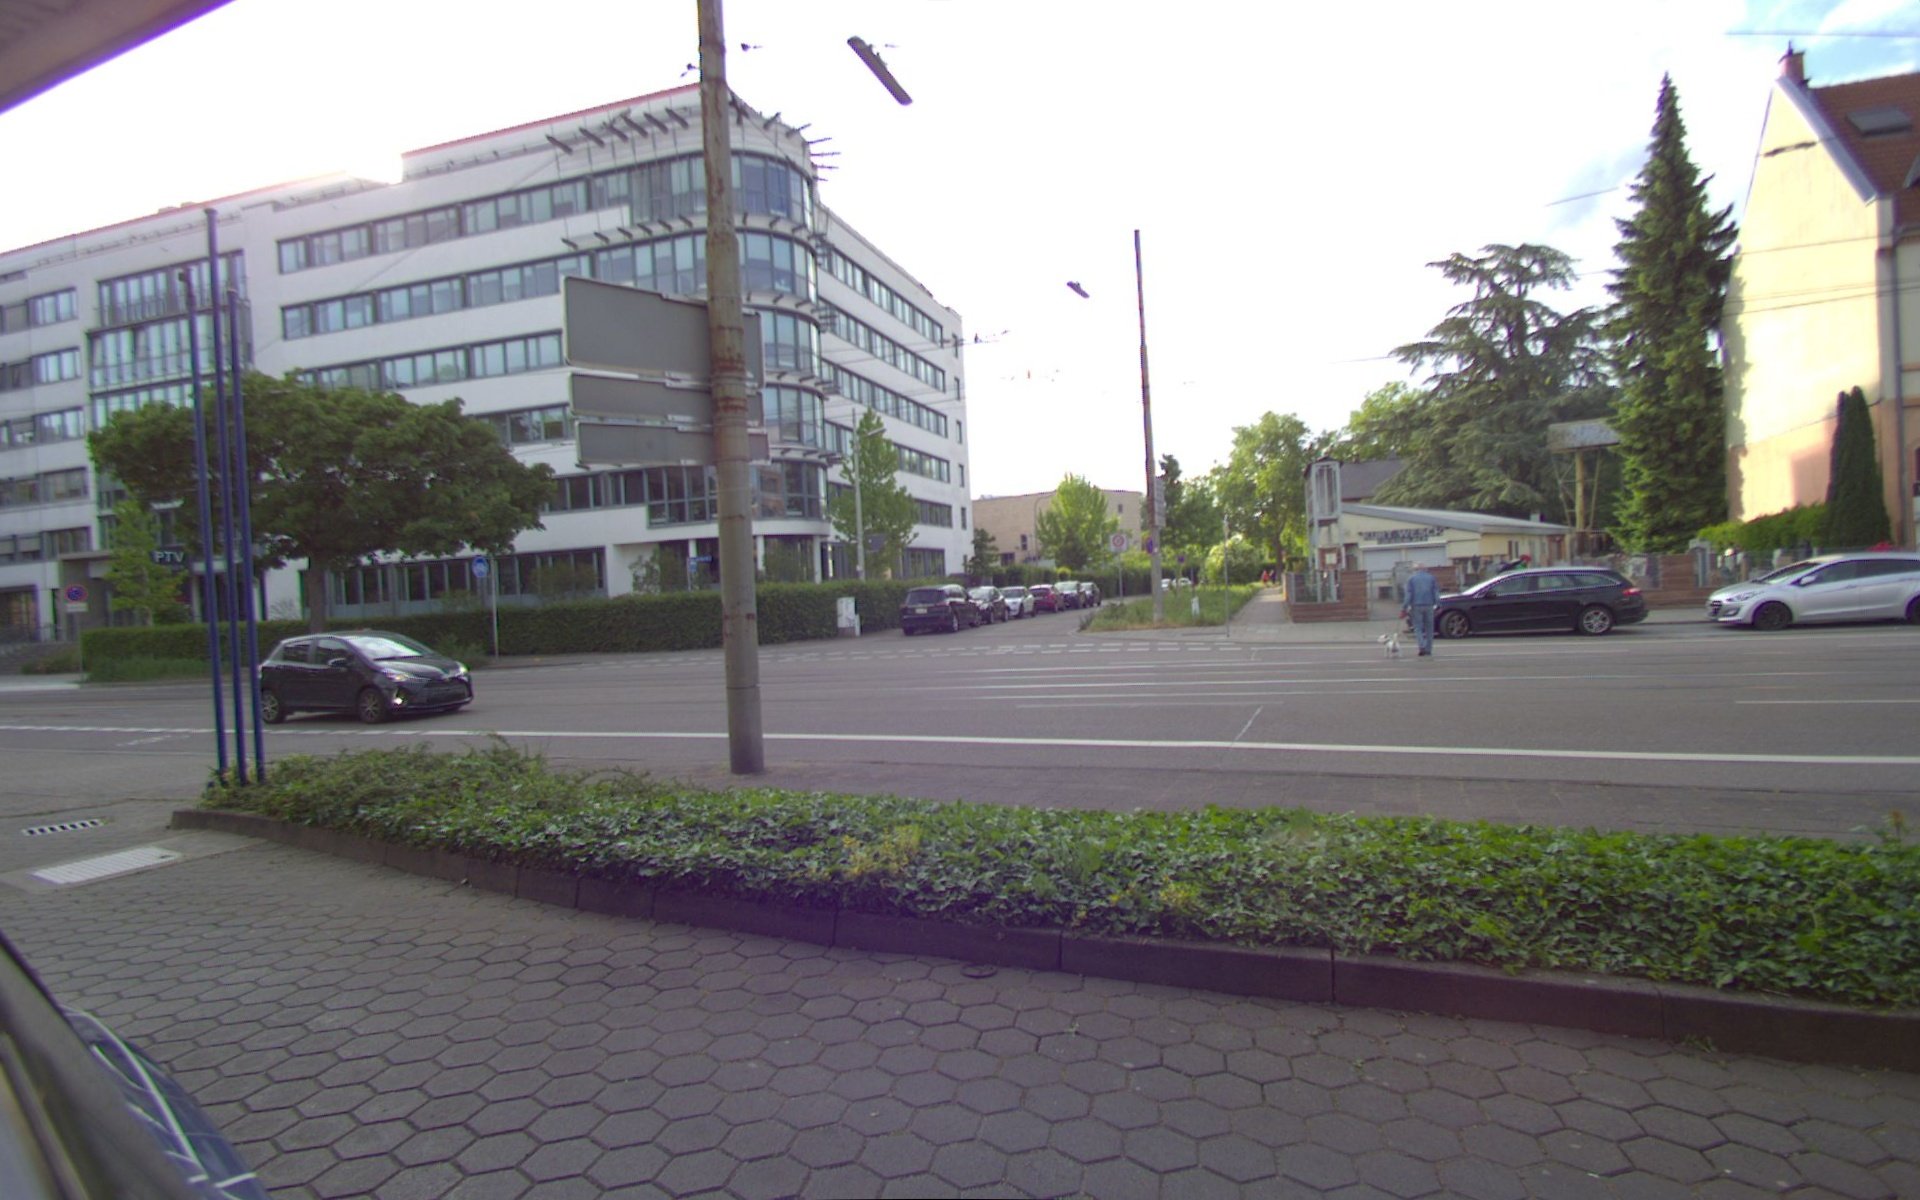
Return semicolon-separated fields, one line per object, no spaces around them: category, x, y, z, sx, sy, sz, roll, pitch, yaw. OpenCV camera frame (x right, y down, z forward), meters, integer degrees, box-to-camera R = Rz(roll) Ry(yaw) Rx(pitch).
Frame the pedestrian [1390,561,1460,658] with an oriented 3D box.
pedestrian;8.421;0.159;18.318;1.000;1.680;0.961;-2;0;32

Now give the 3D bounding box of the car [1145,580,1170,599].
car;19.694;-1.065;100.793;1.849;1.748;4.247;-3;0;19

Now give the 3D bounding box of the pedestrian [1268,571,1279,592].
pedestrian;28.394;-1.697;91.617;0.899;1.865;0.942;-3;-1;20

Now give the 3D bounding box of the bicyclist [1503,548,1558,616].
bicyclist;14.276;-0.462;25.355;1.020;1.617;0.861;-2;3;19

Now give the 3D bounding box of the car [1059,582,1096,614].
car;7.287;-0.153;62.494;1.731;1.748;4.030;-3;0;13

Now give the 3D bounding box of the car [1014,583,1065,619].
car;4.175;0.027;52.491;1.929;1.650;4.274;-3;0;13

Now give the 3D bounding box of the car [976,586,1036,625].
car;2.142;0.216;45.785;1.929;1.530;4.274;-3;0;13

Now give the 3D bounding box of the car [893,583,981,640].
car;-0.725;0.359;35.414;1.994;1.704;4.274;-3;1;13

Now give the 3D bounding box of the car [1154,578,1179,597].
car;21.684;-1.313;106.162;1.849;1.748;4.246;-3;0;19

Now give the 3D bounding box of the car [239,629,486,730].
car;-10.275;1.357;17.411;3.786;1.483;1.678;-3;1;23

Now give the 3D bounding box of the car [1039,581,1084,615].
car;5.834;-0.144;57.720;1.929;1.748;4.512;-3;0;13

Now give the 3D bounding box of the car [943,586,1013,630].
car;0.794;0.291;40.974;1.929;1.551;4.274;-3;0;13

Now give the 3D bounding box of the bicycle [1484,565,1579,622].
bicycle;14.288;-0.166;25.366;1.904;1.320;0.861;-2;3;19

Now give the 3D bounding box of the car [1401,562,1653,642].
car;12.913;0.051;23.443;4.742;1.511;2.001;-3;1;21

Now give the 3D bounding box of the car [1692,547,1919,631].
car;18.425;-0.248;21.382;4.424;1.494;1.713;-3;1;21

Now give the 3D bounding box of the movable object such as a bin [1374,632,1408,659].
movable object such as a bin;7.750;0.808;18.196;0.477;0.424;0.676;-3;1;18

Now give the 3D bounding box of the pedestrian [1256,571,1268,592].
pedestrian;27.425;-1.638;91.895;0.899;1.865;0.942;-3;-1;20
